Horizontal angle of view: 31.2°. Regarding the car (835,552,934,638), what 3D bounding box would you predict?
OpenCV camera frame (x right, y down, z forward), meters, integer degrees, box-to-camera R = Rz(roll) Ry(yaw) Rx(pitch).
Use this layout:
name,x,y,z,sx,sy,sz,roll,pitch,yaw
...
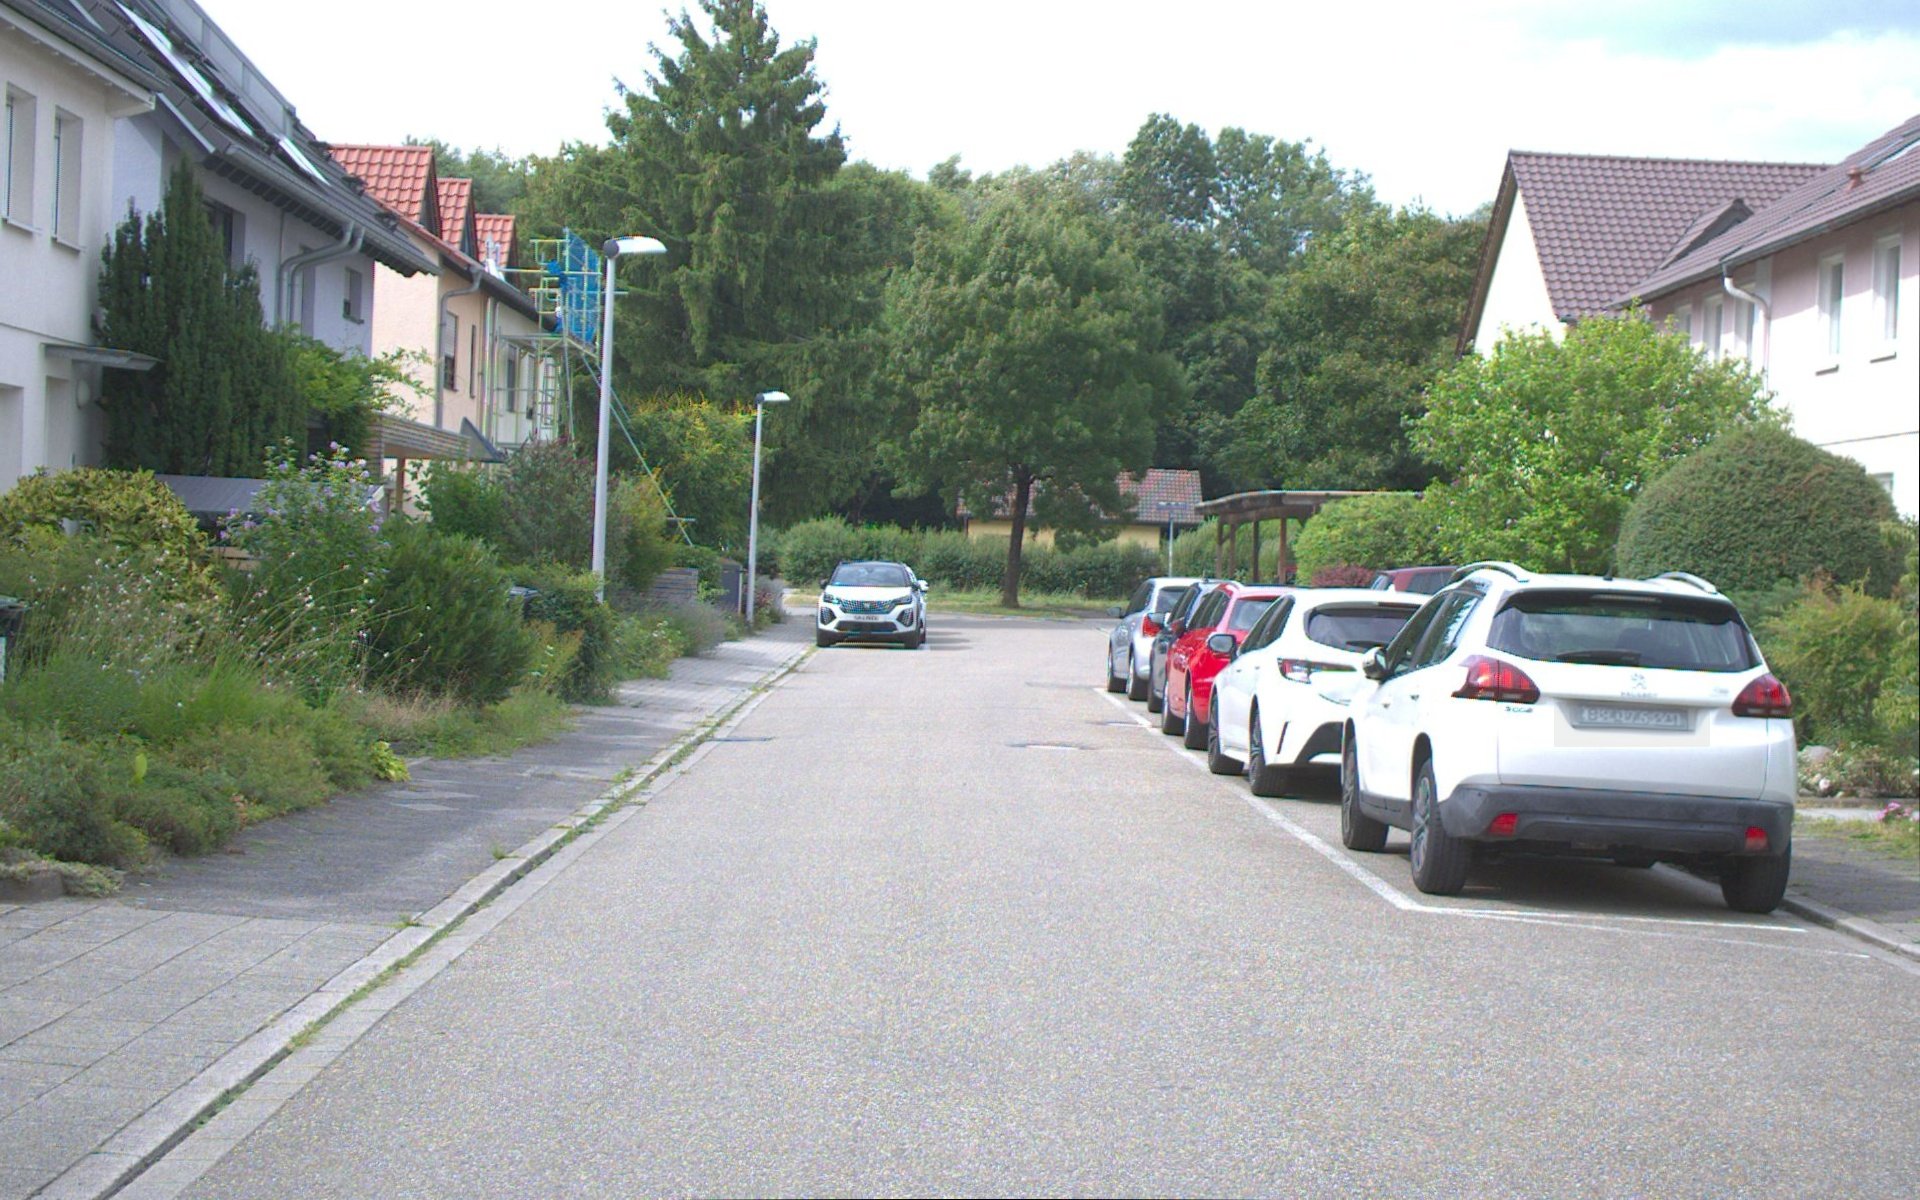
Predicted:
name,x,y,z,sx,sy,sz,roll,pitch,yaw
car,-1.447,-0.124,67.155,1.810,1.557,4.848,1,1,-1

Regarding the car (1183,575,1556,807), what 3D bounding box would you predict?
name,x,y,z,sx,sy,sz,roll,pitch,yaw
car,2.795,0.571,24.499,1.838,1.408,4.637,1,1,-3

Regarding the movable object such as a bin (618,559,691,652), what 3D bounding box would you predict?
name,x,y,z,sx,sy,sz,roll,pitch,yaw
movable object such as a bin,-4.430,0.071,49.916,0.949,1.307,1.001,1,1,-1

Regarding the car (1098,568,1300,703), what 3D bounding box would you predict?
name,x,y,z,sx,sy,sz,roll,pitch,yaw
car,2.774,0.379,40.847,1.864,1.412,4.253,2,1,-3

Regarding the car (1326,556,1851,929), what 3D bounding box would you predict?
name,x,y,z,sx,sy,sz,roll,pitch,yaw
car,2.999,0.608,17.230,1.713,1.538,3.974,4,1,-2

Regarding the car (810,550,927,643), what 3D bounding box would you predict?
name,x,y,z,sx,sy,sz,roll,pitch,yaw
car,-1.609,-0.093,61.756,1.934,1.551,4.634,1,1,0

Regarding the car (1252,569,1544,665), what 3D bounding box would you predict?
name,x,y,z,sx,sy,sz,roll,pitch,yaw
car,7.167,0.271,56.559,4.449,1.428,2.027,1,1,-2

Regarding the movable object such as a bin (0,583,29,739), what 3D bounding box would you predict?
name,x,y,z,sx,sy,sz,roll,pitch,yaw
movable object such as a bin,-6.537,0.388,22.578,0.675,1.004,0.598,1,1,0

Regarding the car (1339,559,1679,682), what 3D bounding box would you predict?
name,x,y,z,sx,sy,sz,roll,pitch,yaw
car,7.399,0.261,46.651,4.270,1.555,1.935,1,1,0

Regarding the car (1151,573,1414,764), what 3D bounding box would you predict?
name,x,y,z,sx,sy,sz,roll,pitch,yaw
car,2.770,0.540,30.515,1.773,1.431,4.826,4,1,0

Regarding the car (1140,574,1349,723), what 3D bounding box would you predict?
name,x,y,z,sx,sy,sz,roll,pitch,yaw
car,2.857,0.453,35.349,1.773,1.351,4.265,1,1,0
